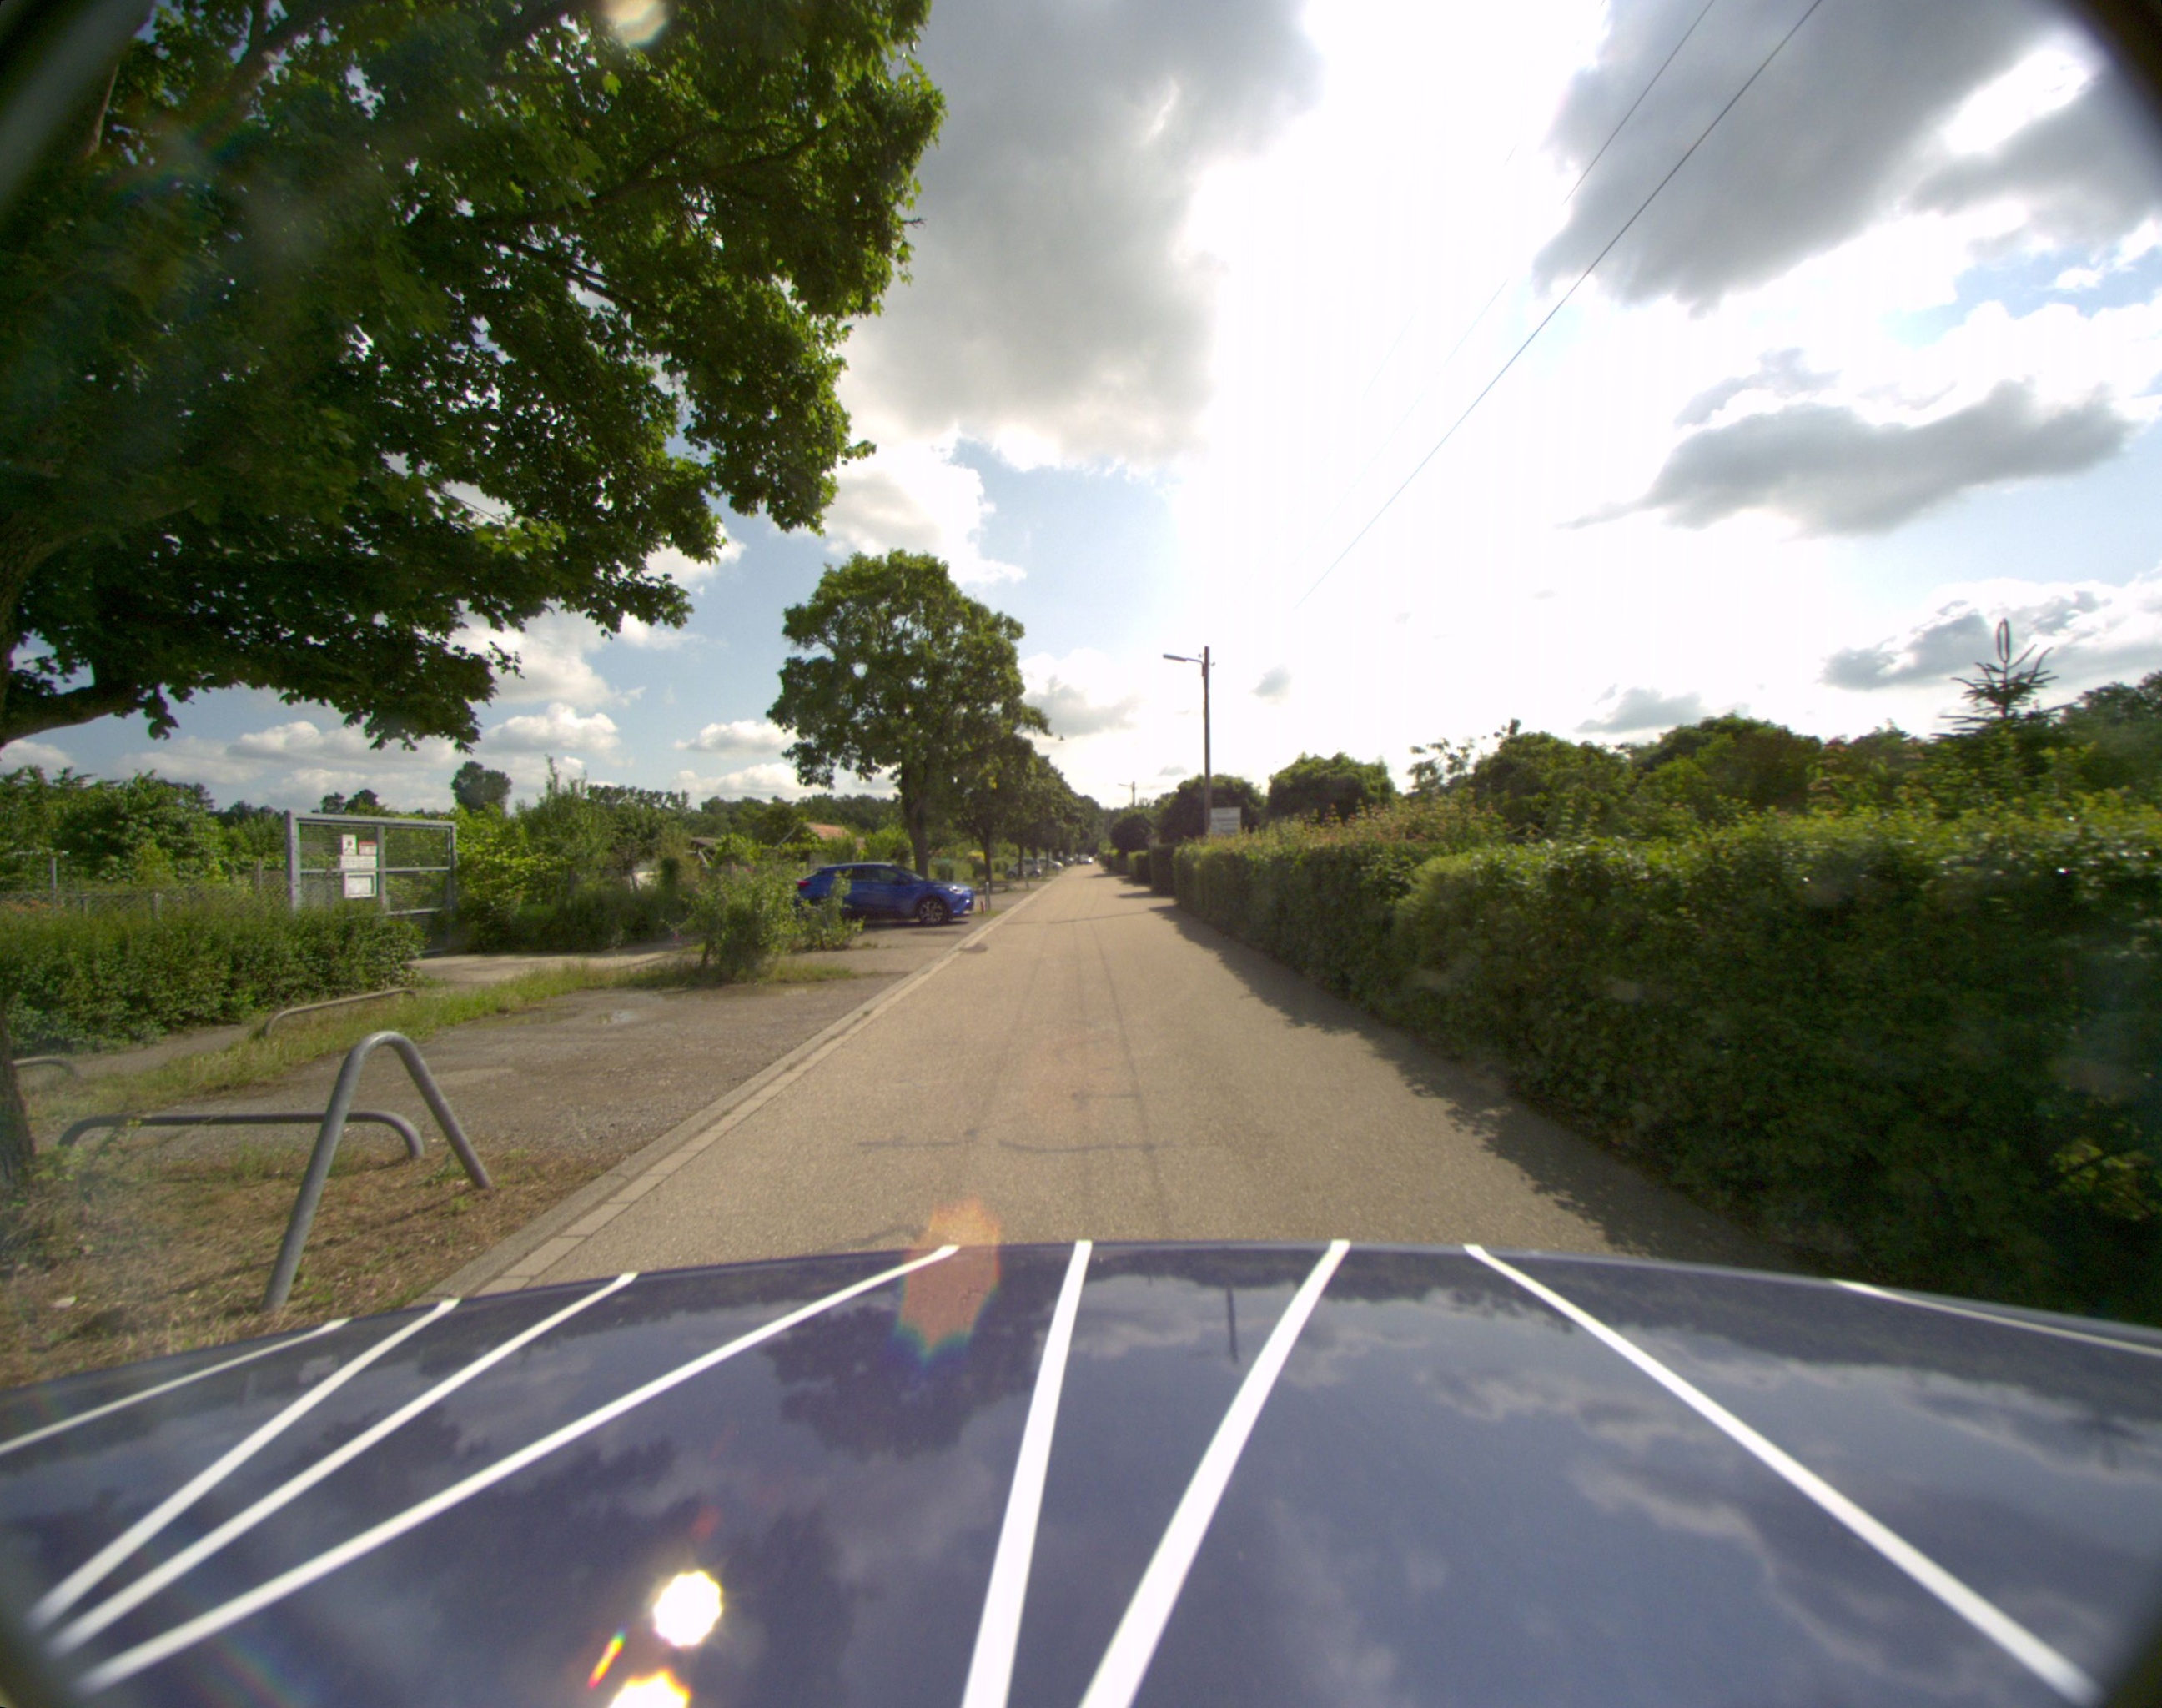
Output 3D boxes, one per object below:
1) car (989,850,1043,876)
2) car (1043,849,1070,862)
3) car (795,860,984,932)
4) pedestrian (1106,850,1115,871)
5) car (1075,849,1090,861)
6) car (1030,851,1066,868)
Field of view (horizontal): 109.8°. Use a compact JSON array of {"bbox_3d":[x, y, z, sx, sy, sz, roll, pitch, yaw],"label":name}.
[{"bbox_3d":[-4.945,0.684,58.429,3.929,1.740,2.000,-2,1,0],"label":"car"},{"bbox_3d":[-3.805,0.263,115.537,3.998,1.824,1.999,-2,1,-3],"label":"car"},{"bbox_3d":[-4.544,0.988,18.453,4.116,1.573,1.780,-1,0,-1],"label":"car"},{"bbox_3d":[2.512,0.536,64.954,0.701,1.701,0.788,-2,1,0],"label":"pedestrian"},{"bbox_3d":[0.247,0.092,116.876,1.998,1.740,3.932,-2,1,2],"label":"car"},{"bbox_3d":[-3.746,0.566,87.031,3.929,1.740,2.000,-2,1,0],"label":"car"}]
